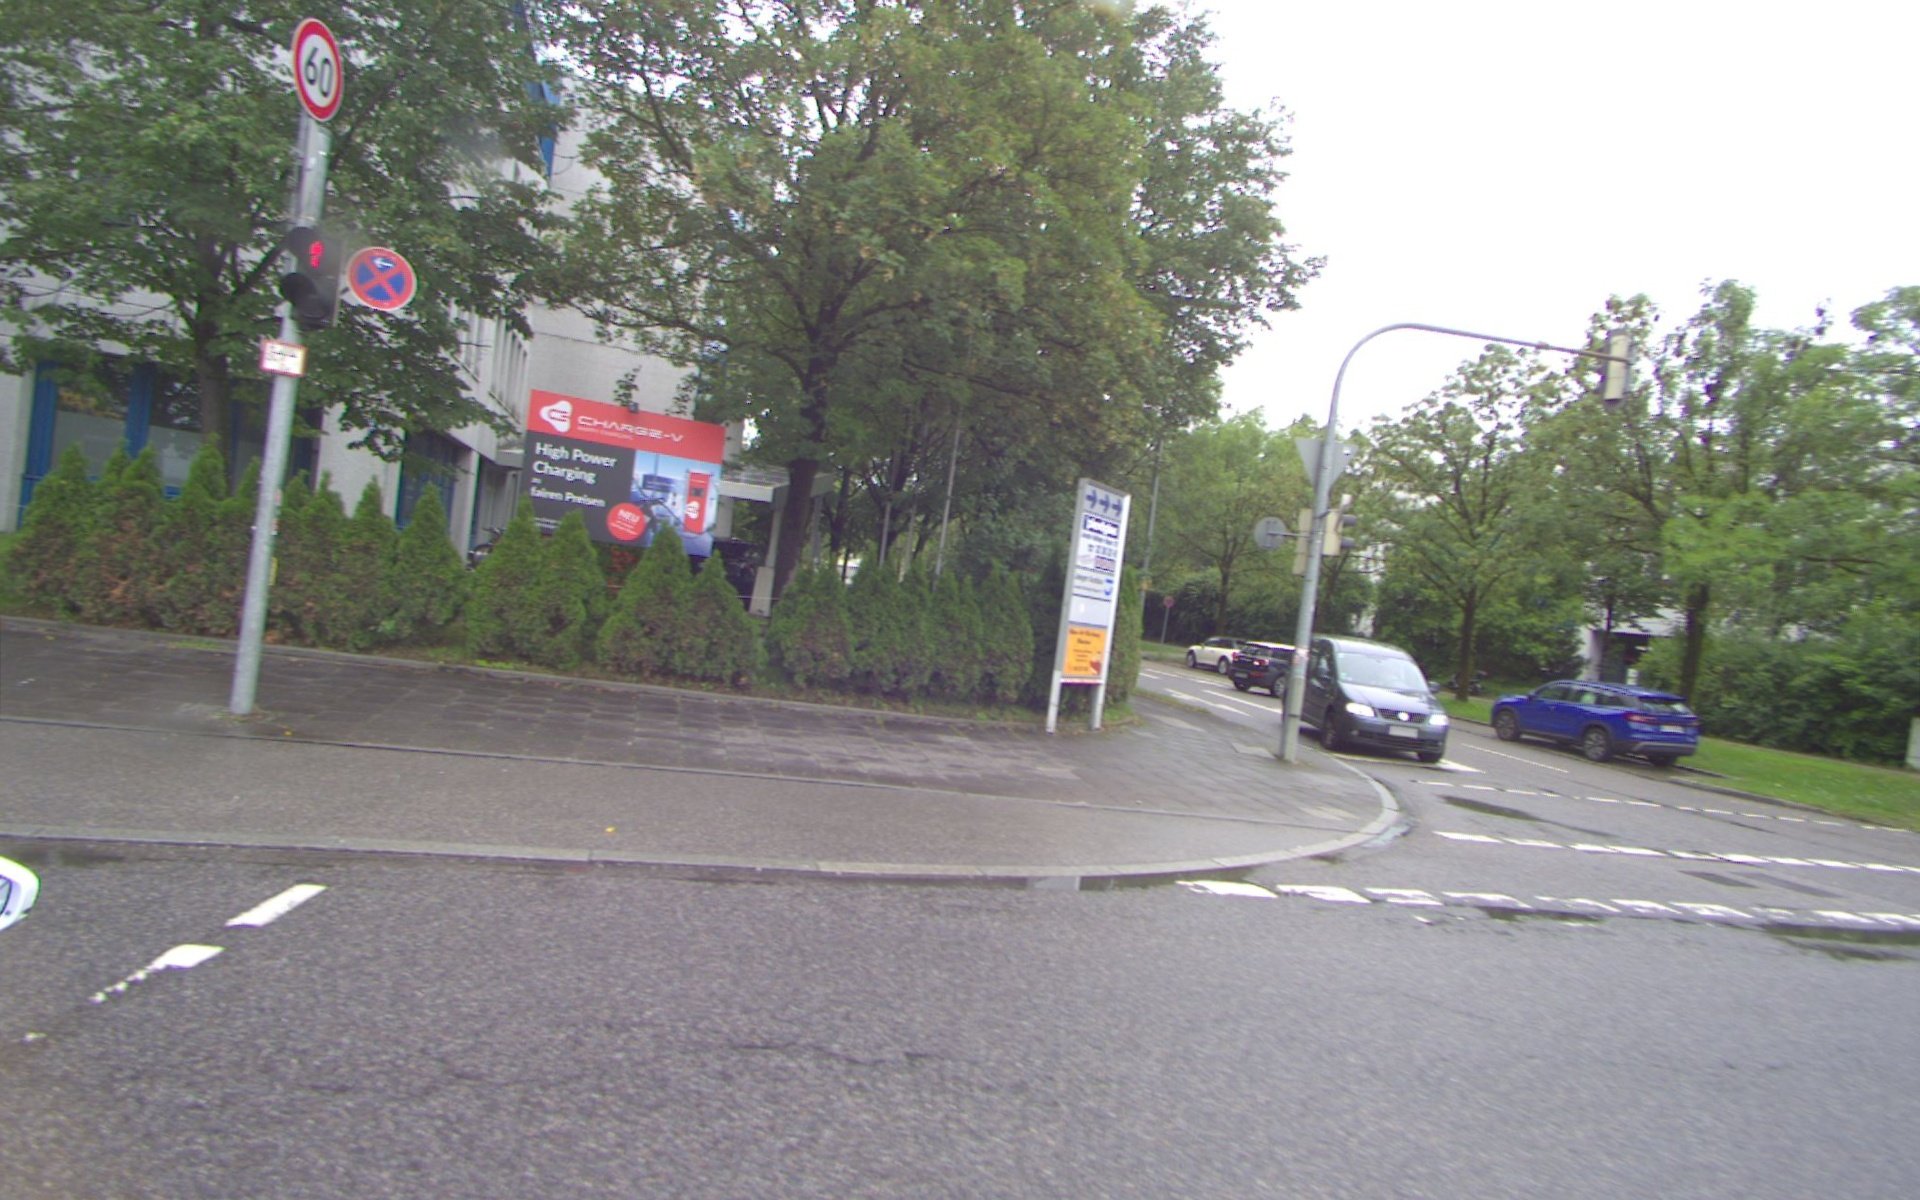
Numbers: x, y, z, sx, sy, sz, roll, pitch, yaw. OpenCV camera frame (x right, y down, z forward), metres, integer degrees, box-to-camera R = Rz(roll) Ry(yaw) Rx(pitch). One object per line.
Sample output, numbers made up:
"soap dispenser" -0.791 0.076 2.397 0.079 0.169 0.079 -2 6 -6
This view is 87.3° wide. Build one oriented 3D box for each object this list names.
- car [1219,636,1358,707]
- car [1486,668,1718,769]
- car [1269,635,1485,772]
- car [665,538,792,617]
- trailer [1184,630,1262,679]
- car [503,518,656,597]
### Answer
"car" 9.219 2.002 28.269 3.235 1.461 1.657 8 0 -20
"car" 14.169 2.564 22.558 1.965 1.594 4.276 5 0 -8
"car" 7.000 1.639 17.541 1.962 1.743 4.793 8 0 5
"car" -5.274 -0.522 23.449 1.835 1.437 4.173 8 1 0
"trailer" 10.316 2.113 39.687 1.429 1.432 3.331 7 1 -13
"car" -8.734 -0.941 23.489 1.835 1.437 4.173 8 1 0
